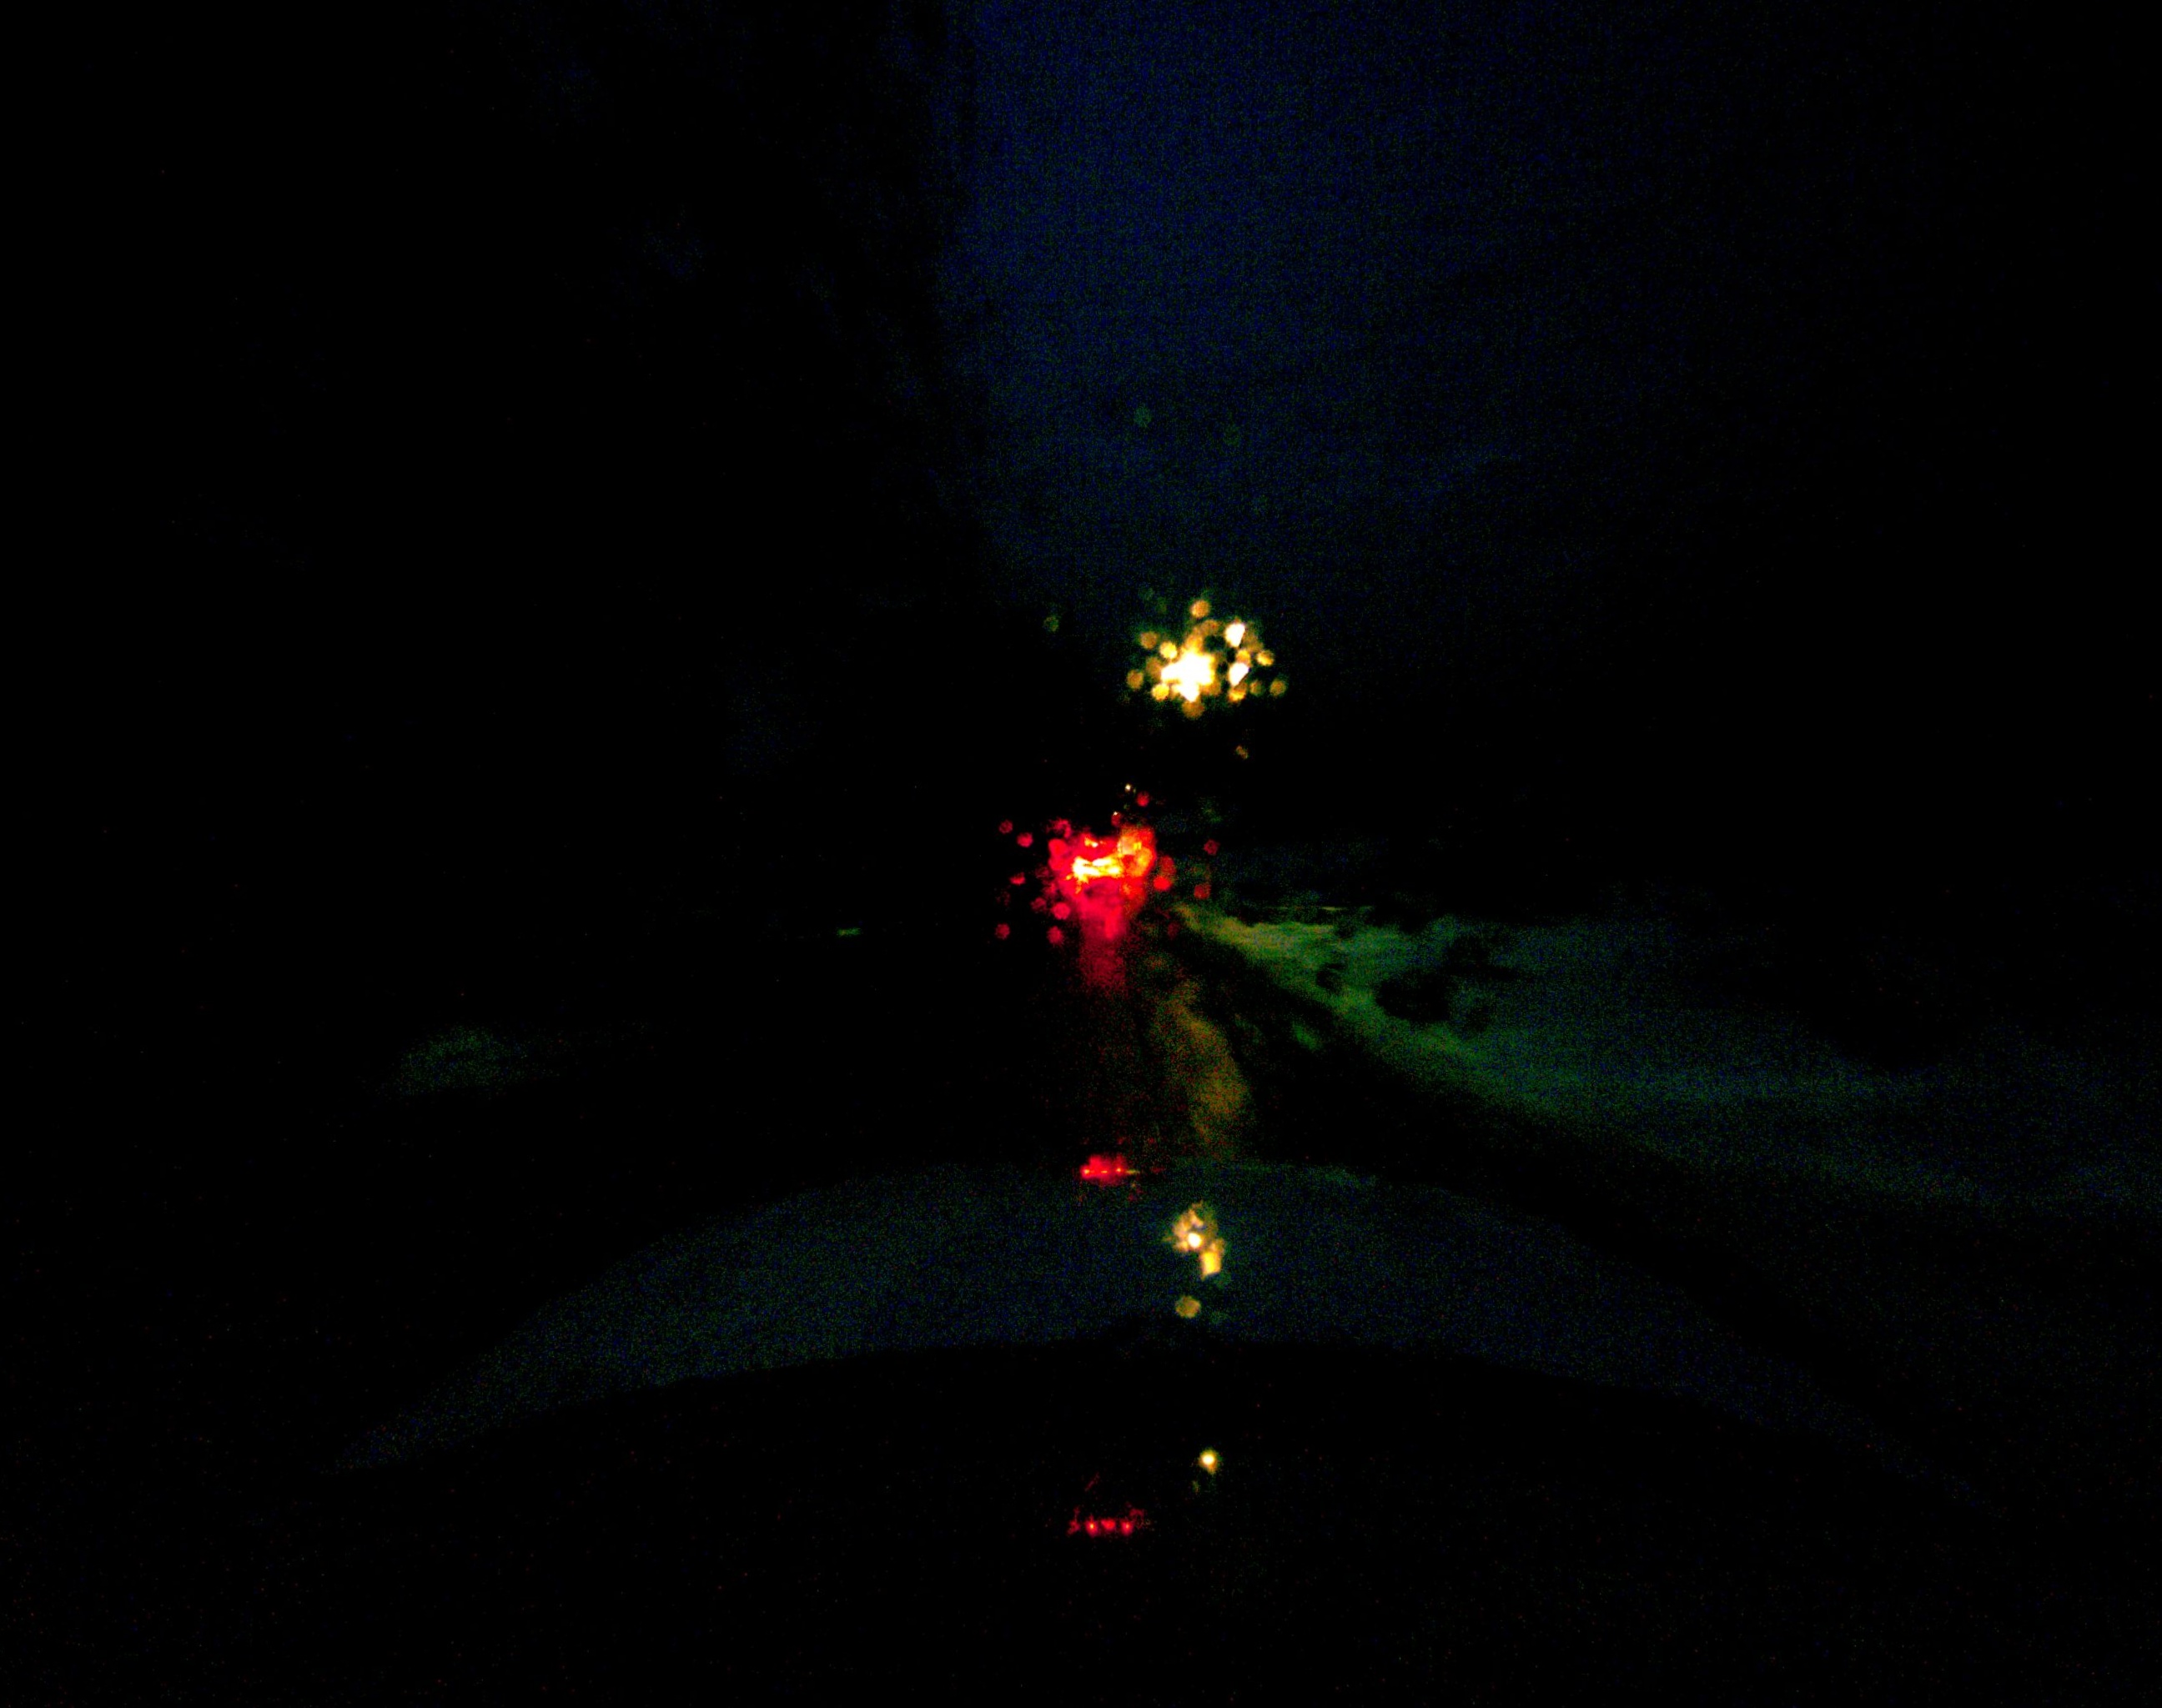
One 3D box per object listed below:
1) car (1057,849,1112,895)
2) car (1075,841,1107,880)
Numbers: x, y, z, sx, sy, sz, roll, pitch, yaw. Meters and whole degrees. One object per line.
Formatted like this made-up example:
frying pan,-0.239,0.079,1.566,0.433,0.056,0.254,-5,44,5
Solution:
car,0.210,0.784,36.637,2.266,1.841,5.007,-1,-1,1
car,0.891,0.600,68.184,2.426,3.019,5.326,-2,-2,2
